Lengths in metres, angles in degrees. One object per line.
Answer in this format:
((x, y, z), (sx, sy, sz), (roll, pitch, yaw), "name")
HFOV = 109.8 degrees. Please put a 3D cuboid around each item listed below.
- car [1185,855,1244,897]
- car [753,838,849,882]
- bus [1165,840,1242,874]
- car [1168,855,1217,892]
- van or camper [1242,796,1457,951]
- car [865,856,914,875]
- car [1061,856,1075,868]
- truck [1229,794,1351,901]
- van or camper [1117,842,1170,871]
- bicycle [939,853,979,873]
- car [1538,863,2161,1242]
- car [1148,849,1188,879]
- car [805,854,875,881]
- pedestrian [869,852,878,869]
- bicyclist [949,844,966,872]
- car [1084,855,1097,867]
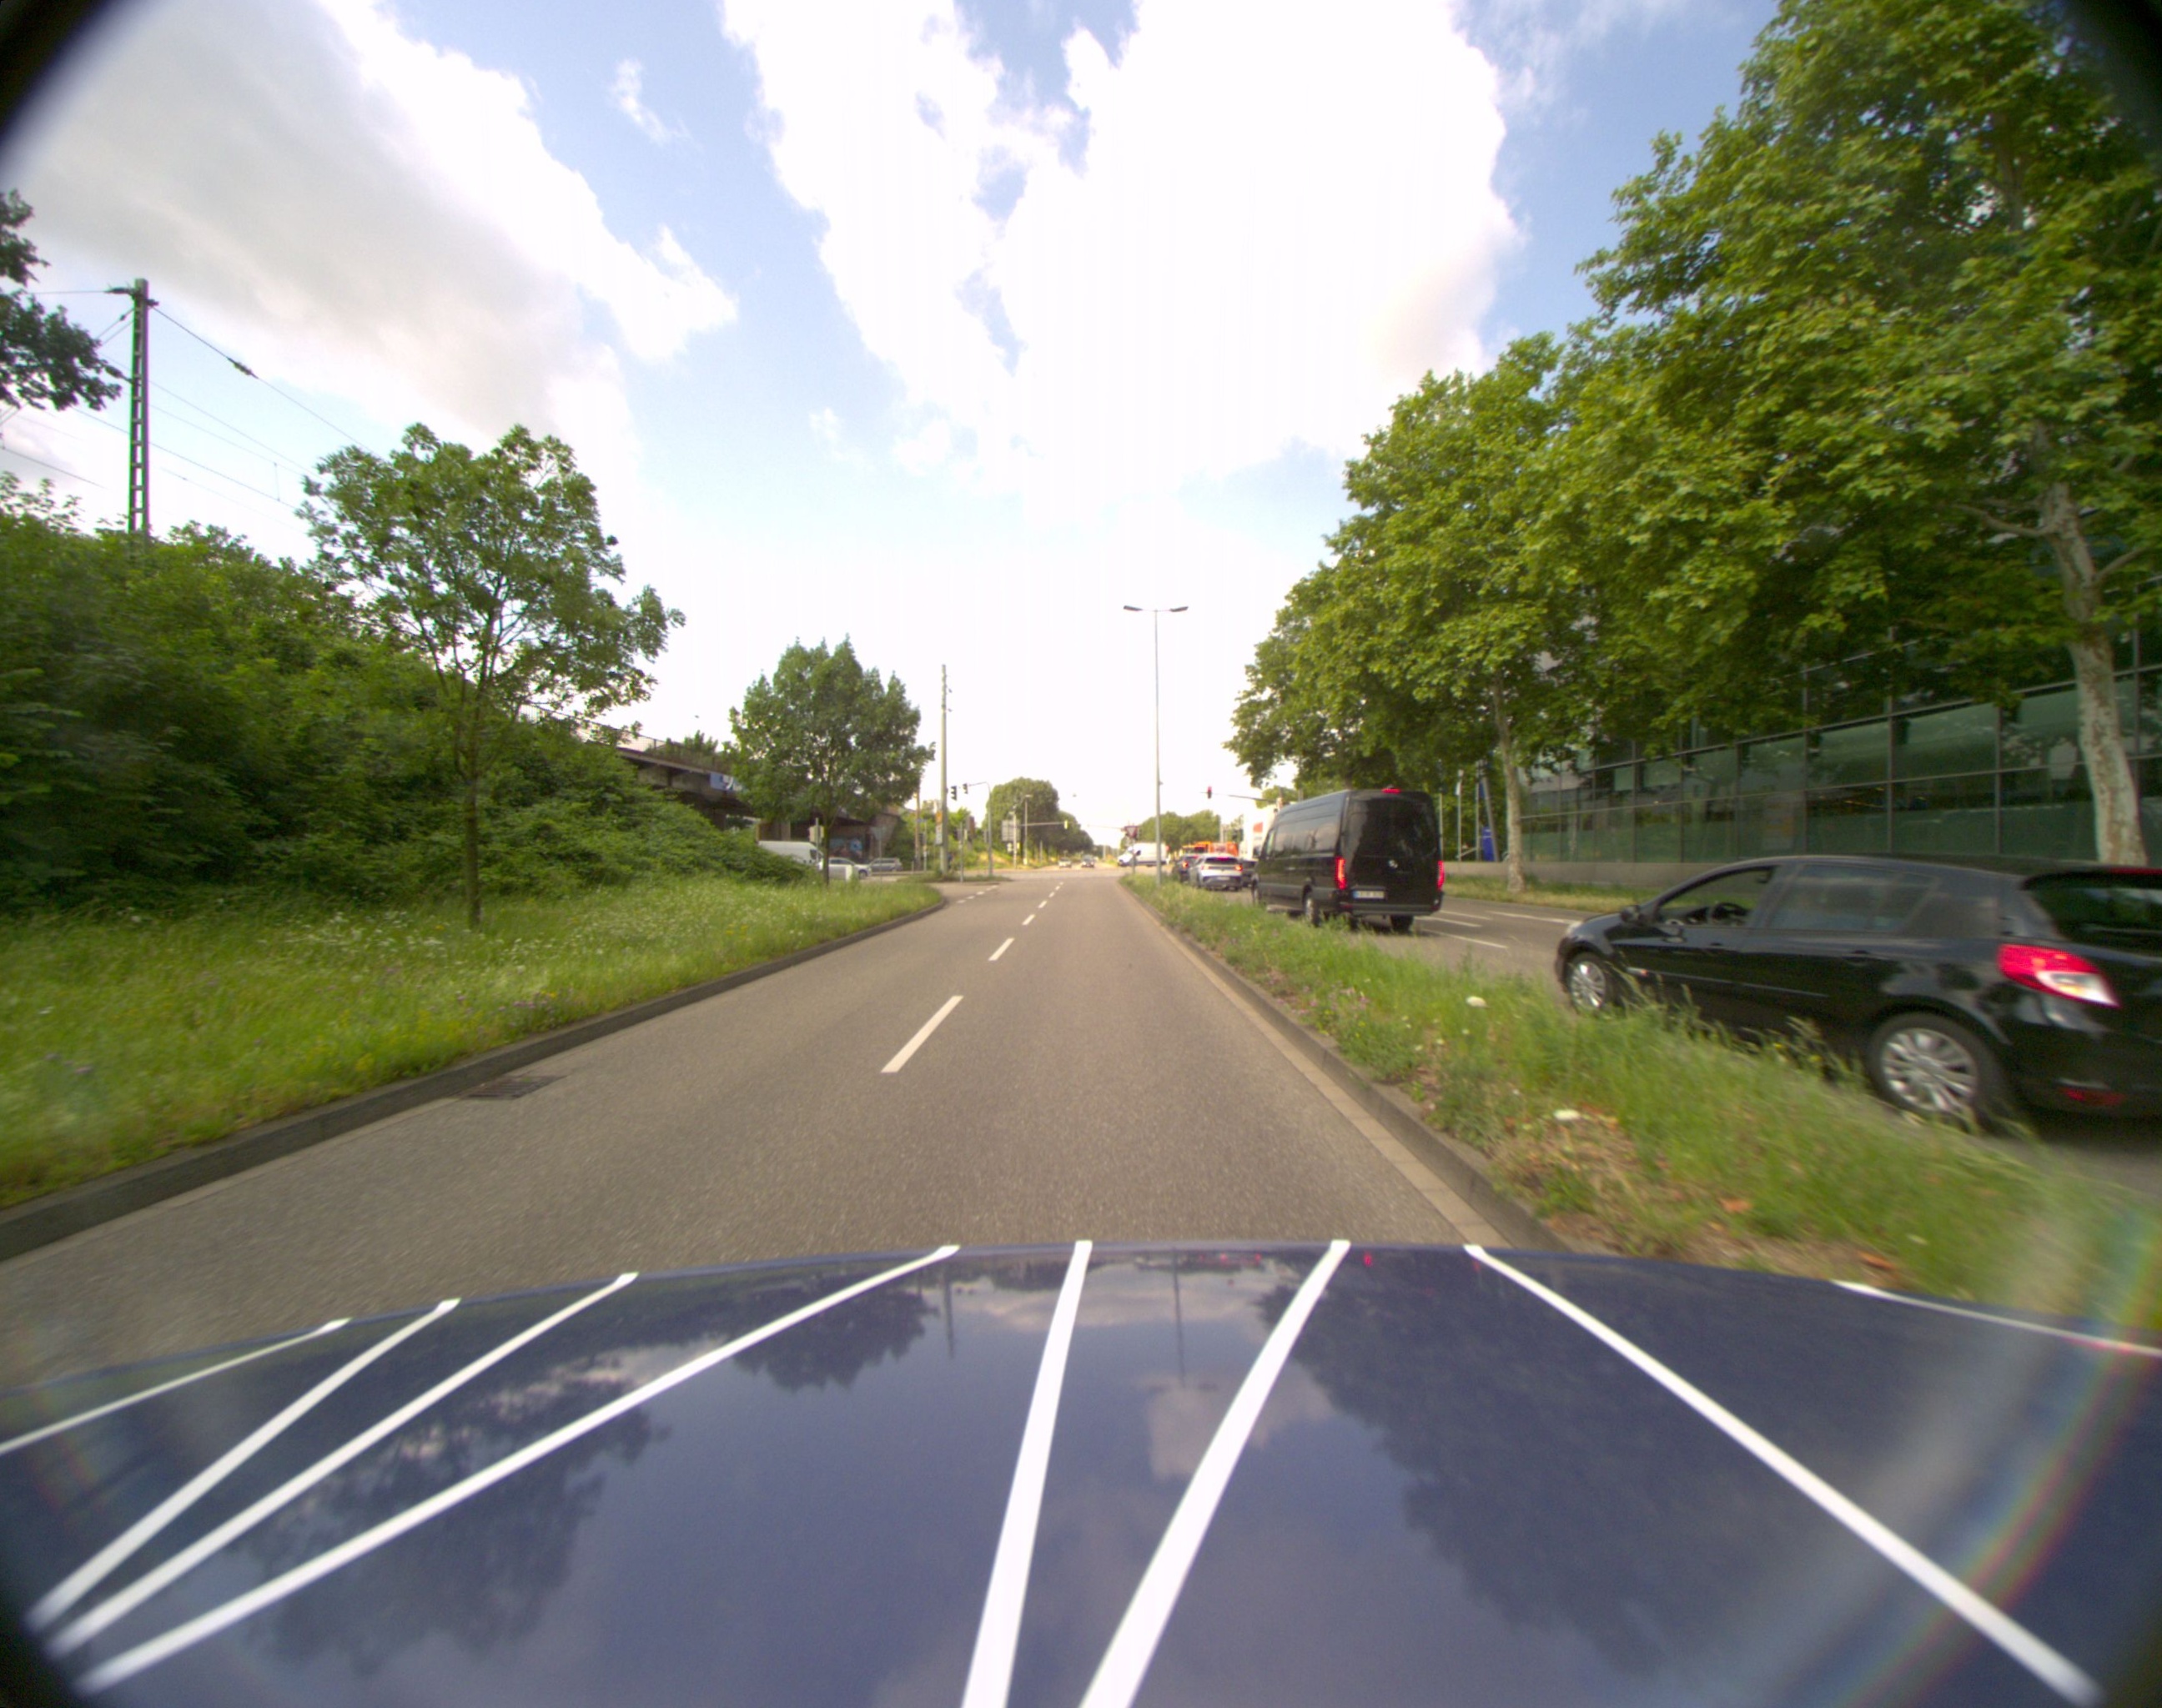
((5.546, 0.866, 32.001), (1.749, 1.544, 4.233), (1, 1, 1), "car")
((-19.014, 0.336, 51.747), (5.635, 2.514, 2.258), (-4, 6, -33), "car")
((15.292, 0.317, 94.503), (10.410, 3.448, 2.738), (-4, 5, -35), "bus")
((5.487, 0.916, 37.868), (1.712, 1.578, 4.360), (-1, 1, -1), "car")
((5.334, 0.323, 16.435), (2.110, 2.644, 6.716), (1, 0, -1), "van or camper")
((-17.819, 1.039, 70.692), (4.006, 1.456, 1.768), (-4, 2, -35), "car")
((-1.805, 1.079, 104.870), (1.716, 1.477, 4.000), (-1, 0, 1), "car")
((8.550, -0.242, 32.582), (2.656, 3.865, 10.160), (0, 0, 1), "truck")
((7.027, 0.237, 84.812), (5.975, 2.771, 2.158), (-4, 5, -36), "van or camper")
((-7.659, 0.560, 47.867), (2.321, 1.088, 0.843), (-3, 5, -27), "bicycle")
((5.129, 0.840, 5.076), (1.698, 1.455, 3.940), (0, 1, -1), "car")
((5.111, 0.566, 45.074), (1.869, 1.565, 4.567), (-1, 1, 0), "car")
((-15.770, 0.883, 49.839), (4.006, 1.468, 1.703), (-4, 3, -36), "car")
((-20.660, 0.623, 75.739), (0.609, 1.642, 0.692), (-1, 4, 1), "pedestrian")
((-7.779, 0.253, 47.786), (0.824, 1.670, 0.843), (-3, 5, -27), "bicyclist")
((1.301, 0.931, 104.492), (1.820, 1.477, 4.000), (-1, 0, 1), "car")
